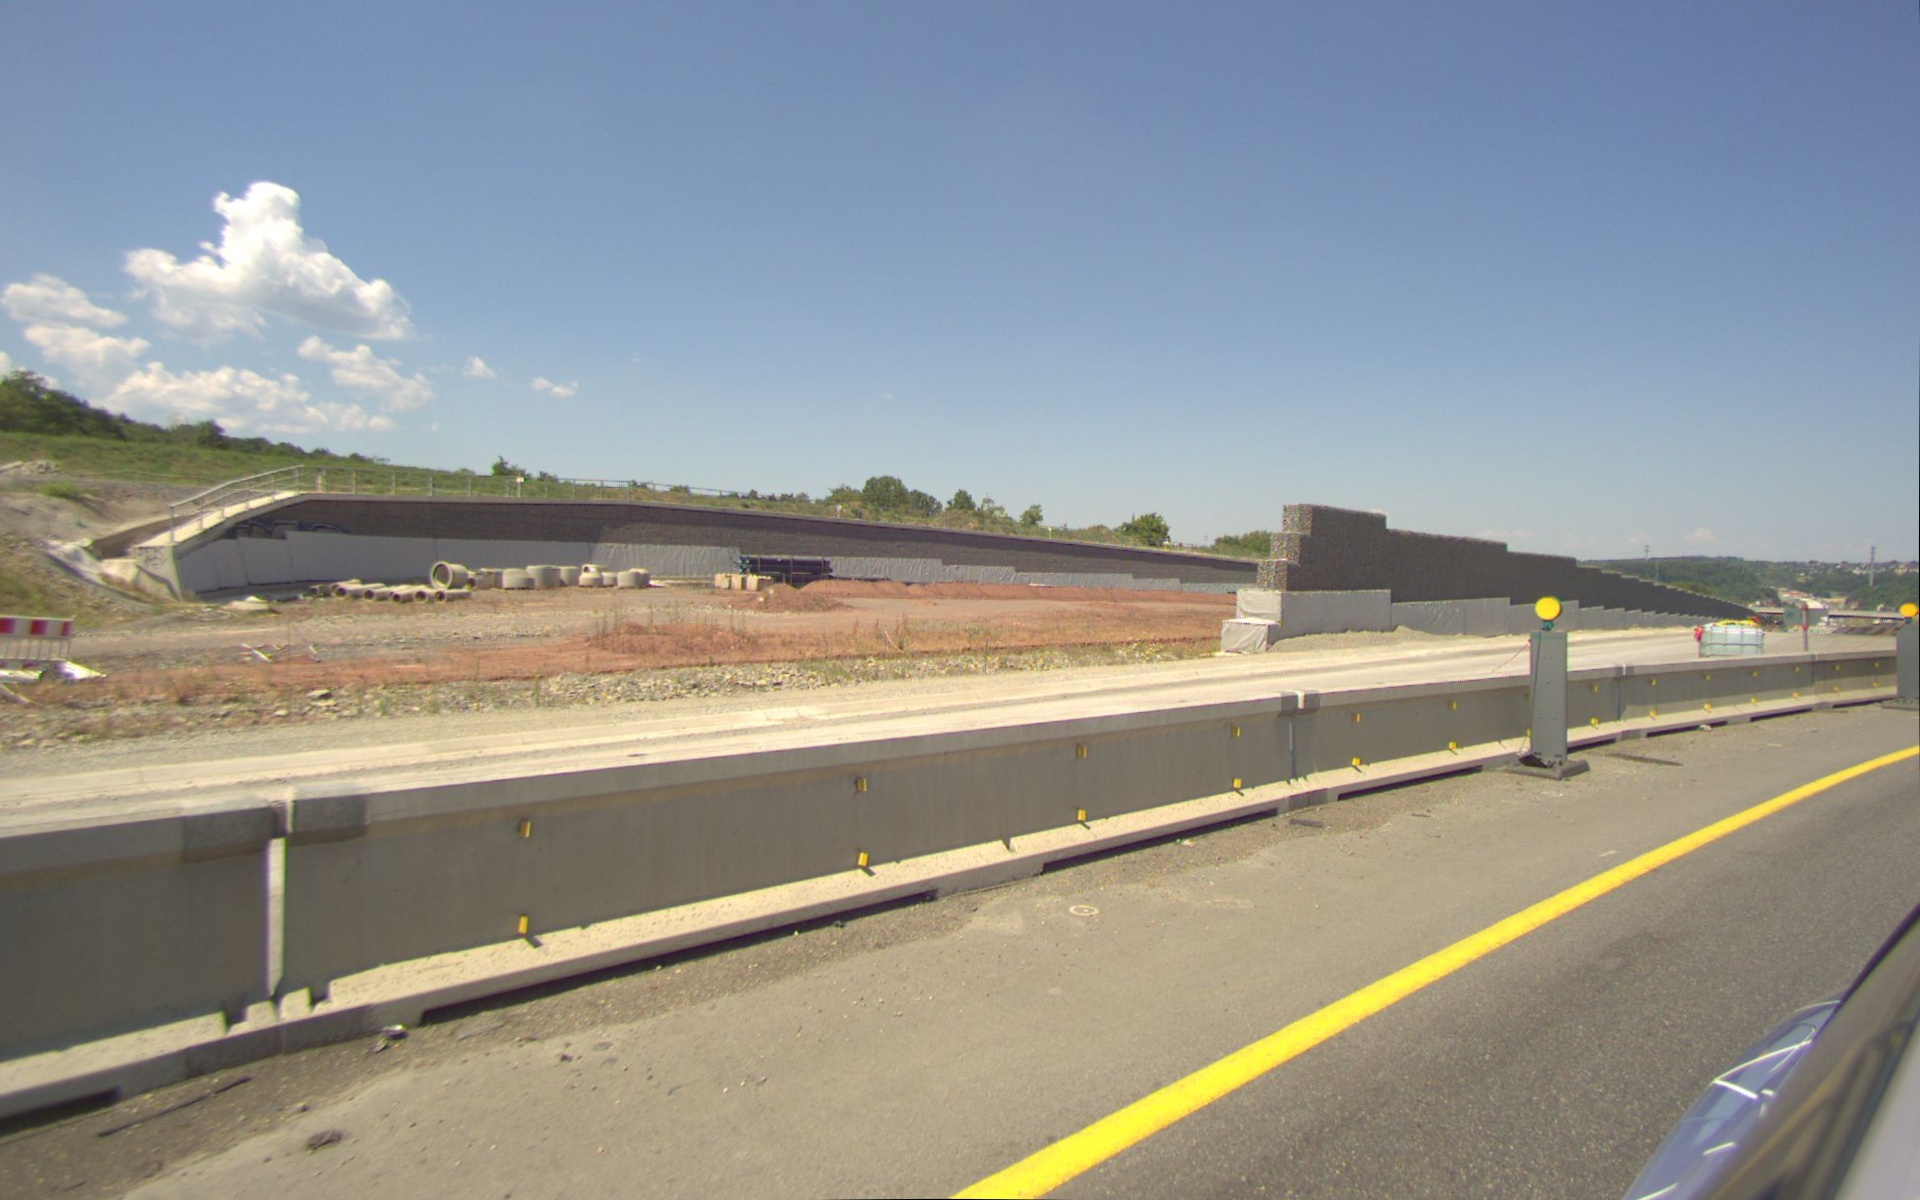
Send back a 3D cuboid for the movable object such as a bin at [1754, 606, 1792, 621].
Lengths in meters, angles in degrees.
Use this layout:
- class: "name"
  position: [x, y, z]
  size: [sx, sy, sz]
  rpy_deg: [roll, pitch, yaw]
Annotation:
- class: "movable object such as a bin"
  position: [124.098, 2.022, 154.434]
  size: [4.073, 2.174, 1.755]
  rpy_deg: [2, 1, 14]
